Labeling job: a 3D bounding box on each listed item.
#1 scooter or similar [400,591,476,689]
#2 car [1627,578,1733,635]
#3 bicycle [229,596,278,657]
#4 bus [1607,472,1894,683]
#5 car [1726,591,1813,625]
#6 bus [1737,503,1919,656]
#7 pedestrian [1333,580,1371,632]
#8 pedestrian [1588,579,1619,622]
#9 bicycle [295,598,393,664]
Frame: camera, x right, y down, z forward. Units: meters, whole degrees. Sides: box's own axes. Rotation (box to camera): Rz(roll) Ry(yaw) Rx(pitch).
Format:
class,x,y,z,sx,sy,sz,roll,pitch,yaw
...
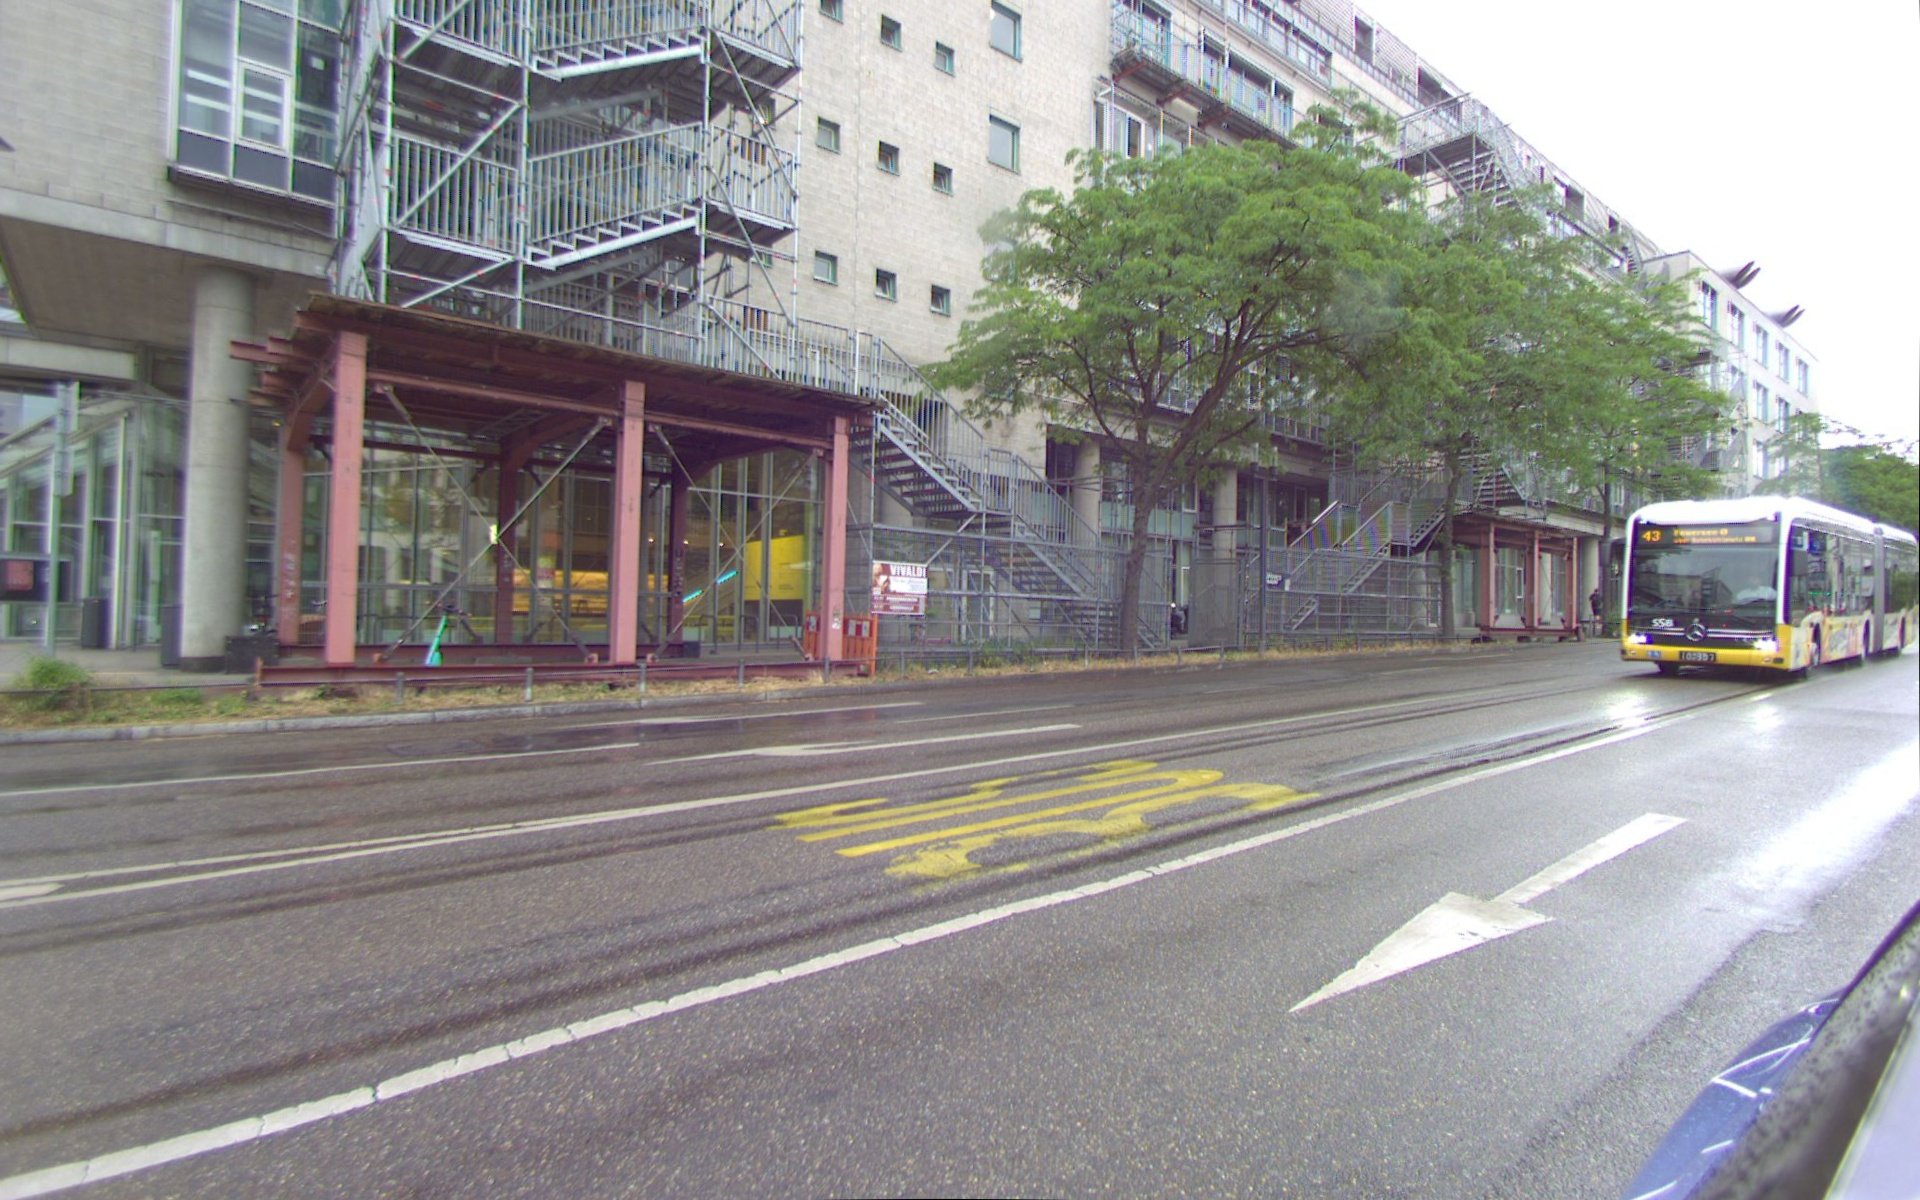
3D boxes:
class,x,y,z,sx,sy,sz,roll,pitch,yaw
scooter or similar,-6.939,0.488,13.413,0.576,1.209,1.782,1,0,-38
car,26.067,0.189,36.587,4.254,1.930,2.211,-1,0,-41
bicycle,-14.452,0.520,20.692,0.577,1.209,1.611,0,0,-44
bus,16.691,-0.433,21.000,9.586,3.494,2.888,-1,0,-41
car,35.092,0.310,43.815,4.733,1.353,2.145,-1,1,-41
bus,23.918,-0.525,27.253,9.541,3.483,2.888,-1,0,-41
pedestrian,14.010,0.218,36.159,0.832,1.822,1.007,0,0,-44
pedestrian,30.694,0.003,48.262,1.021,2.039,1.009,0,0,-41
bicycle,-11.986,0.575,19.737,0.580,1.209,1.602,0,0,24
